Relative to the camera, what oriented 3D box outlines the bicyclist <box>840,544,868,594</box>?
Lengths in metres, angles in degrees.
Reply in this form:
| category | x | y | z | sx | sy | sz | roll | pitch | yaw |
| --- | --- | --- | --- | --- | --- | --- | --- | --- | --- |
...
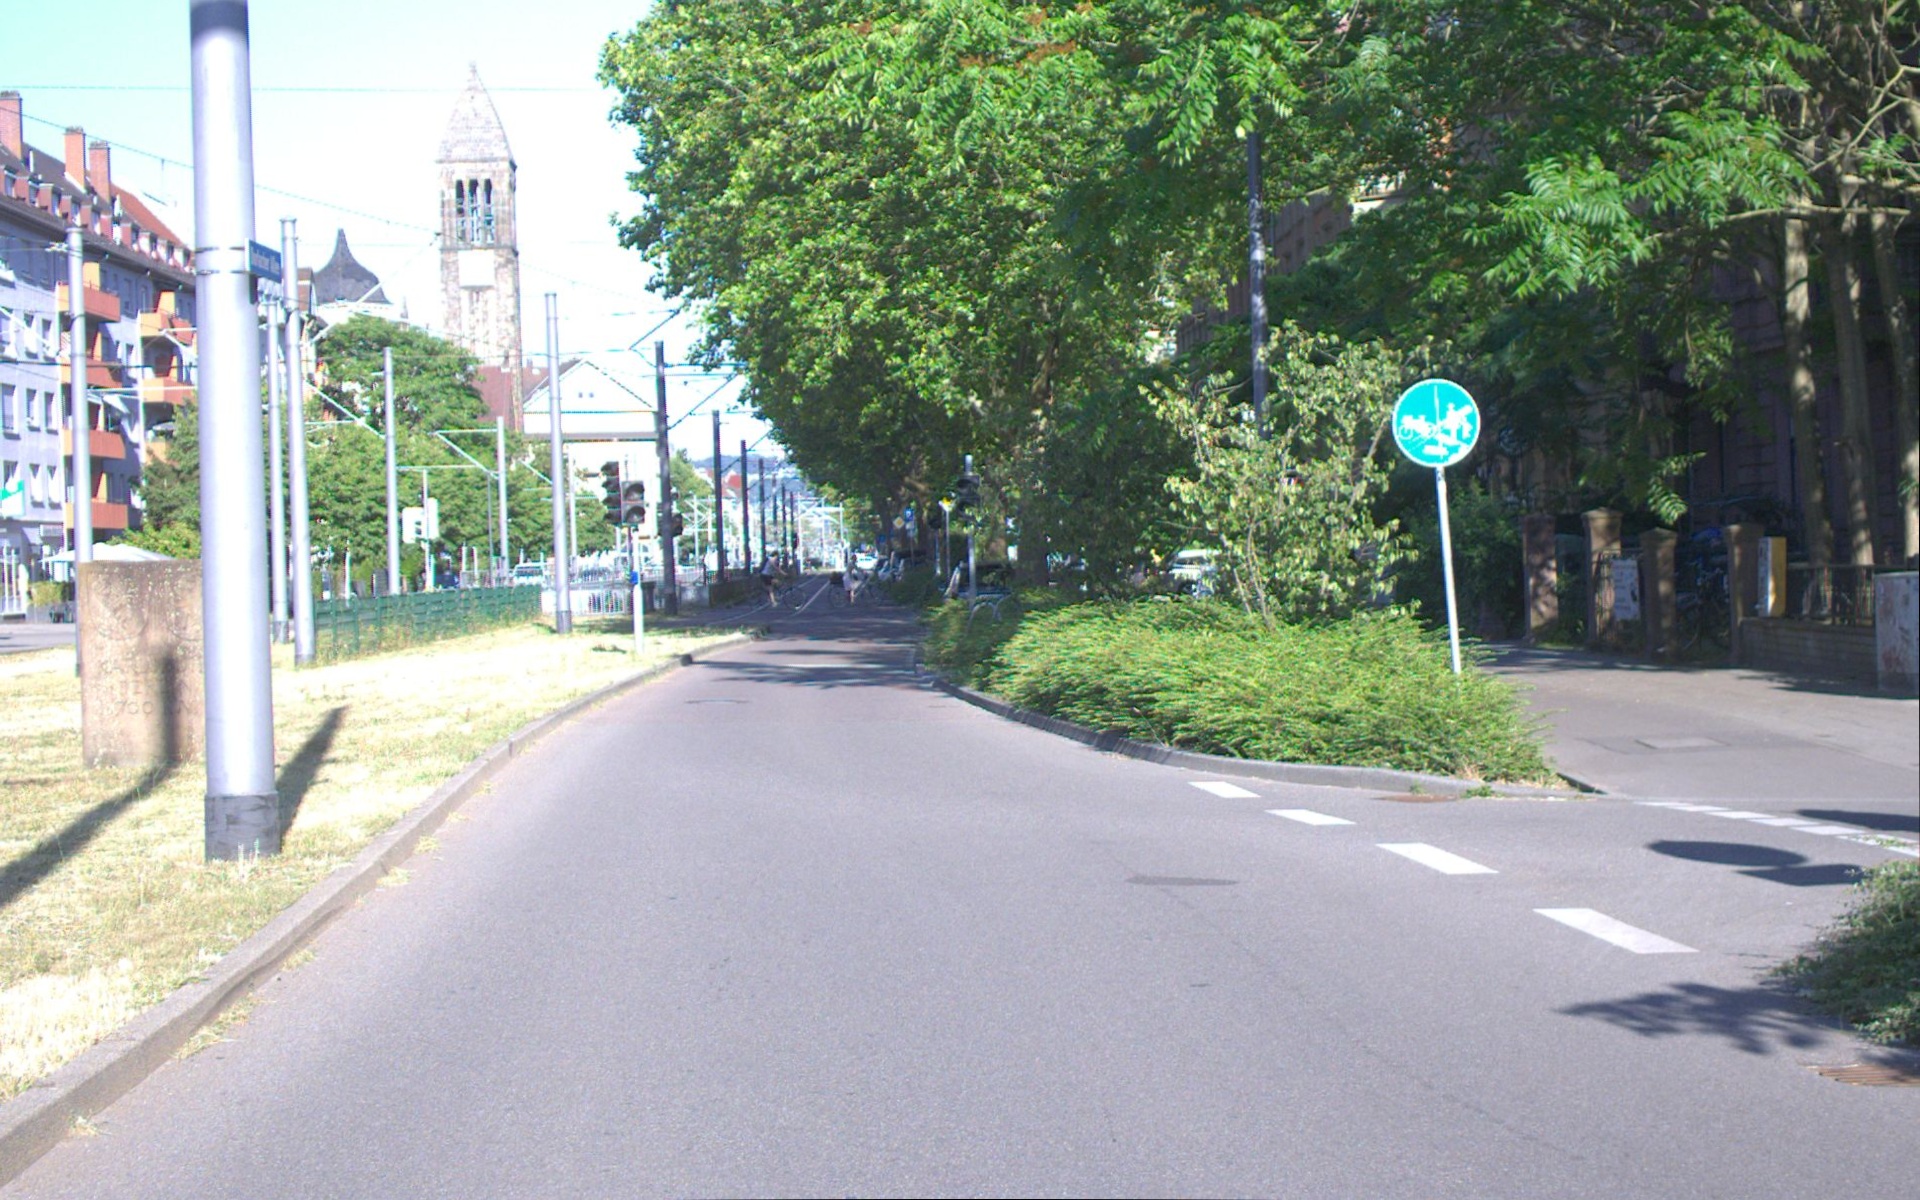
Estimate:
| category | x | y | z | sx | sy | sz | roll | pitch | yaw |
| --- | --- | --- | --- | --- | --- | --- | --- | --- | --- |
| bicyclist | -3.398 | -0.991 | 109.998 | 0.749 | 1.552 | 0.573 | -3 | 4 | -9 |

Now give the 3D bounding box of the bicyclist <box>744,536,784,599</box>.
| category | x | y | z | sx | sy | sz | roll | pitch | yaw |
| --- | --- | --- | --- | --- | --- | --- | --- | --- | --- |
| bicyclist | -6.151 | -1.022 | 108.002 | 1.141 | 1.884 | 0.682 | -3 | 4 | -2 |

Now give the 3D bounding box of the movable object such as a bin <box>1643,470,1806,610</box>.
| category | x | y | z | sx | sy | sz | roll | pitch | yaw |
| --- | --- | --- | --- | --- | --- | --- | --- | --- | --- |
| movable object such as a bin | 11.606 | -0.920 | 52.326 | 1.545 | 1.989 | 3.231 | -3 | 1 | -2 |

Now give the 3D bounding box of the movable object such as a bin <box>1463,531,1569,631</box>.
| category | x | y | z | sx | sy | sz | roll | pitch | yaw |
| --- | --- | --- | --- | --- | --- | --- | --- | --- | --- |
| movable object such as a bin | 8.118 | -0.289 | 50.261 | 1.232 | 1.377 | 1.257 | -3 | 1 | -2 |

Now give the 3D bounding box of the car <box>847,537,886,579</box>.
| category | x | y | z | sx | sy | sz | roll | pitch | yaw |
| --- | --- | --- | --- | --- | --- | --- | --- | --- | --- |
| car | -4.834 | -2.156 | 178.242 | 1.993 | 2.100 | 4.000 | 0 | 0 | -1 |

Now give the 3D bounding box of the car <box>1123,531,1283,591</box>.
| category | x | y | z | sx | sy | sz | roll | pitch | yaw |
| --- | --- | --- | --- | --- | --- | --- | --- | --- | --- |
| car | 6.515 | -1.043 | 91.989 | 3.989 | 1.415 | 1.999 | -2 | 1 | 11 |

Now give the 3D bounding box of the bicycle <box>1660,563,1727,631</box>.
| category | x | y | z | sx | sy | sz | roll | pitch | yaw |
| --- | --- | --- | --- | --- | --- | --- | --- | --- | --- |
| bicycle | 9.772 | -0.046 | 45.816 | 0.768 | 0.851 | 0.375 | -3 | 4 | -4 |

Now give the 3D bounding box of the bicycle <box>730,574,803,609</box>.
| category | x | y | z | sx | sy | sz | roll | pitch | yaw |
| --- | --- | --- | --- | --- | --- | --- | --- | --- | --- |
| bicycle | -6.069 | -0.273 | 108.052 | 2.241 | 0.972 | 0.682 | -2 | 4 | -2 |

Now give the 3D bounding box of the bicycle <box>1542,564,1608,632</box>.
| category | x | y | z | sx | sy | sz | roll | pitch | yaw |
| --- | --- | --- | --- | --- | --- | --- | --- | --- | --- |
| bicycle | 8.182 | -0.027 | 45.747 | 0.768 | 0.851 | 0.375 | -3 | 4 | -4 |

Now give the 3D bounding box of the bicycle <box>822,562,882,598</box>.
| category | x | y | z | sx | sy | sz | roll | pitch | yaw |
| --- | --- | --- | --- | --- | --- | --- | --- | --- | --- |
| bicycle | -3.462 | -0.639 | 110.001 | 1.814 | 1.044 | 0.573 | -3 | 4 | -9 |

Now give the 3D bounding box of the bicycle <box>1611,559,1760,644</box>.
| category | x | y | z | sx | sy | sz | roll | pitch | yaw |
| --- | --- | --- | --- | --- | --- | --- | --- | --- | --- |
| bicycle | 8.781 | 0.013 | 41.646 | 1.652 | 0.921 | 0.539 | -3 | 4 | 0 |

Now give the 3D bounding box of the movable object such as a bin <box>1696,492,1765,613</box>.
| category | x | y | z | sx | sy | sz | roll | pitch | yaw |
| --- | --- | --- | --- | --- | --- | --- | --- | --- | --- |
| movable object such as a bin | 11.248 | -0.700 | 50.216 | 0.754 | 1.687 | 0.743 | -3 | 4 | -4 |

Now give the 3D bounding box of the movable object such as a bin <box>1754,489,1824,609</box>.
| category | x | y | z | sx | sy | sz | roll | pitch | yaw |
| --- | --- | --- | --- | --- | --- | --- | --- | --- | --- |
| movable object such as a bin | 12.117 | -0.746 | 50.262 | 0.754 | 1.687 | 0.743 | -3 | 4 | -4 |

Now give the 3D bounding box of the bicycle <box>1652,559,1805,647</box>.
| category | x | y | z | sx | sy | sz | roll | pitch | yaw |
| --- | --- | --- | --- | --- | --- | --- | --- | --- | --- |
| bicycle | 9.053 | 0.037 | 40.527 | 1.652 | 0.921 | 0.539 | -3 | 4 | 0 |

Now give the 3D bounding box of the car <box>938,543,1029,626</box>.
| category | x | y | z | sx | sy | sz | roll | pitch | yaw |
| --- | --- | --- | --- | --- | --- | --- | --- | --- | --- |
| car | 0.441 | -0.332 | 68.744 | 1.643 | 1.506 | 4.183 | -3 | 1 | -1 |
